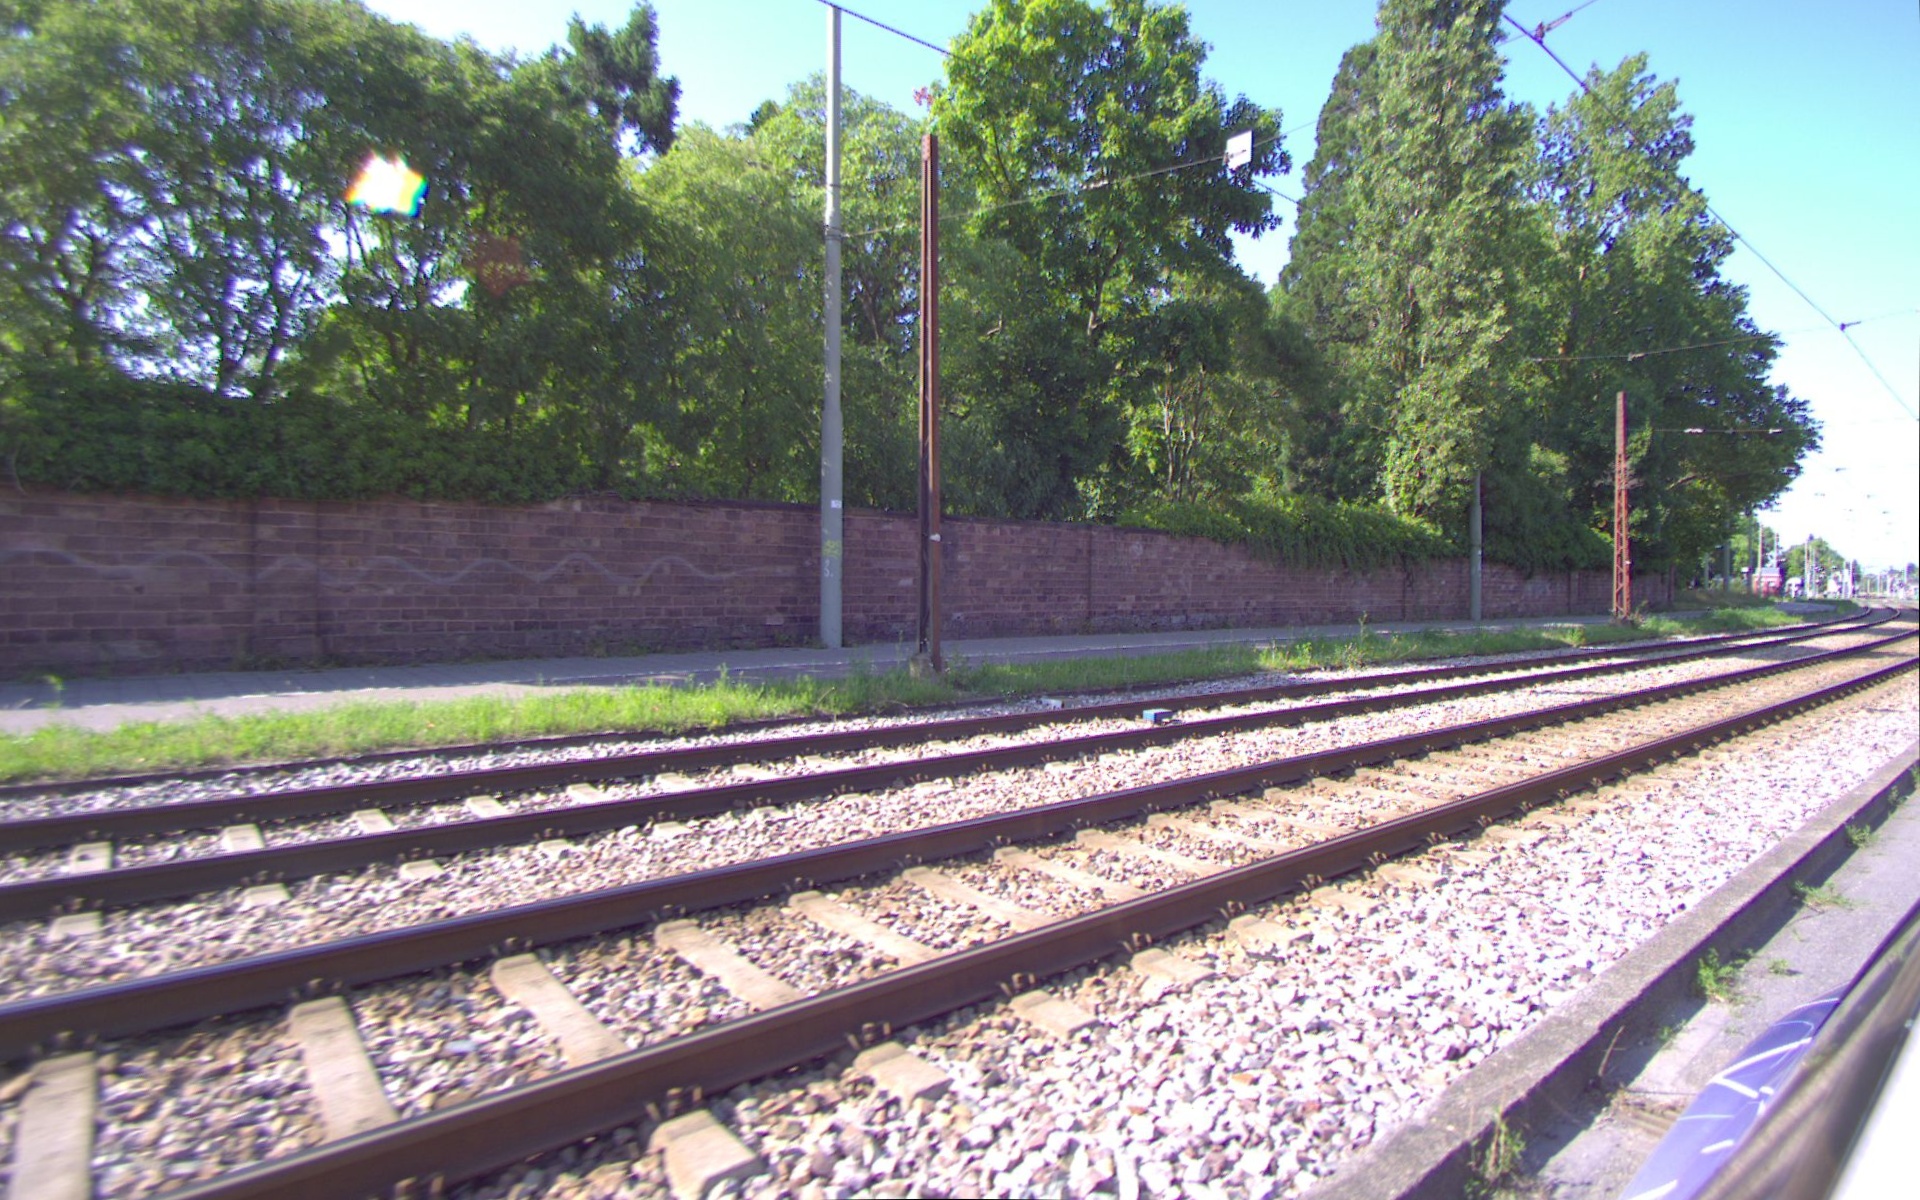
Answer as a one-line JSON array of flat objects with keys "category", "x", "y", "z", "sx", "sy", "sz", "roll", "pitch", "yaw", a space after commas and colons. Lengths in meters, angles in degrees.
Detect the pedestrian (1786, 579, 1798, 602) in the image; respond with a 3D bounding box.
[{"category": "pedestrian", "x": 64.779, "y": -0.750, "z": 78.818, "sx": 0.869, "sy": 1.737, "sz": 0.501, "roll": 0, "pitch": 1, "yaw": -39}]
